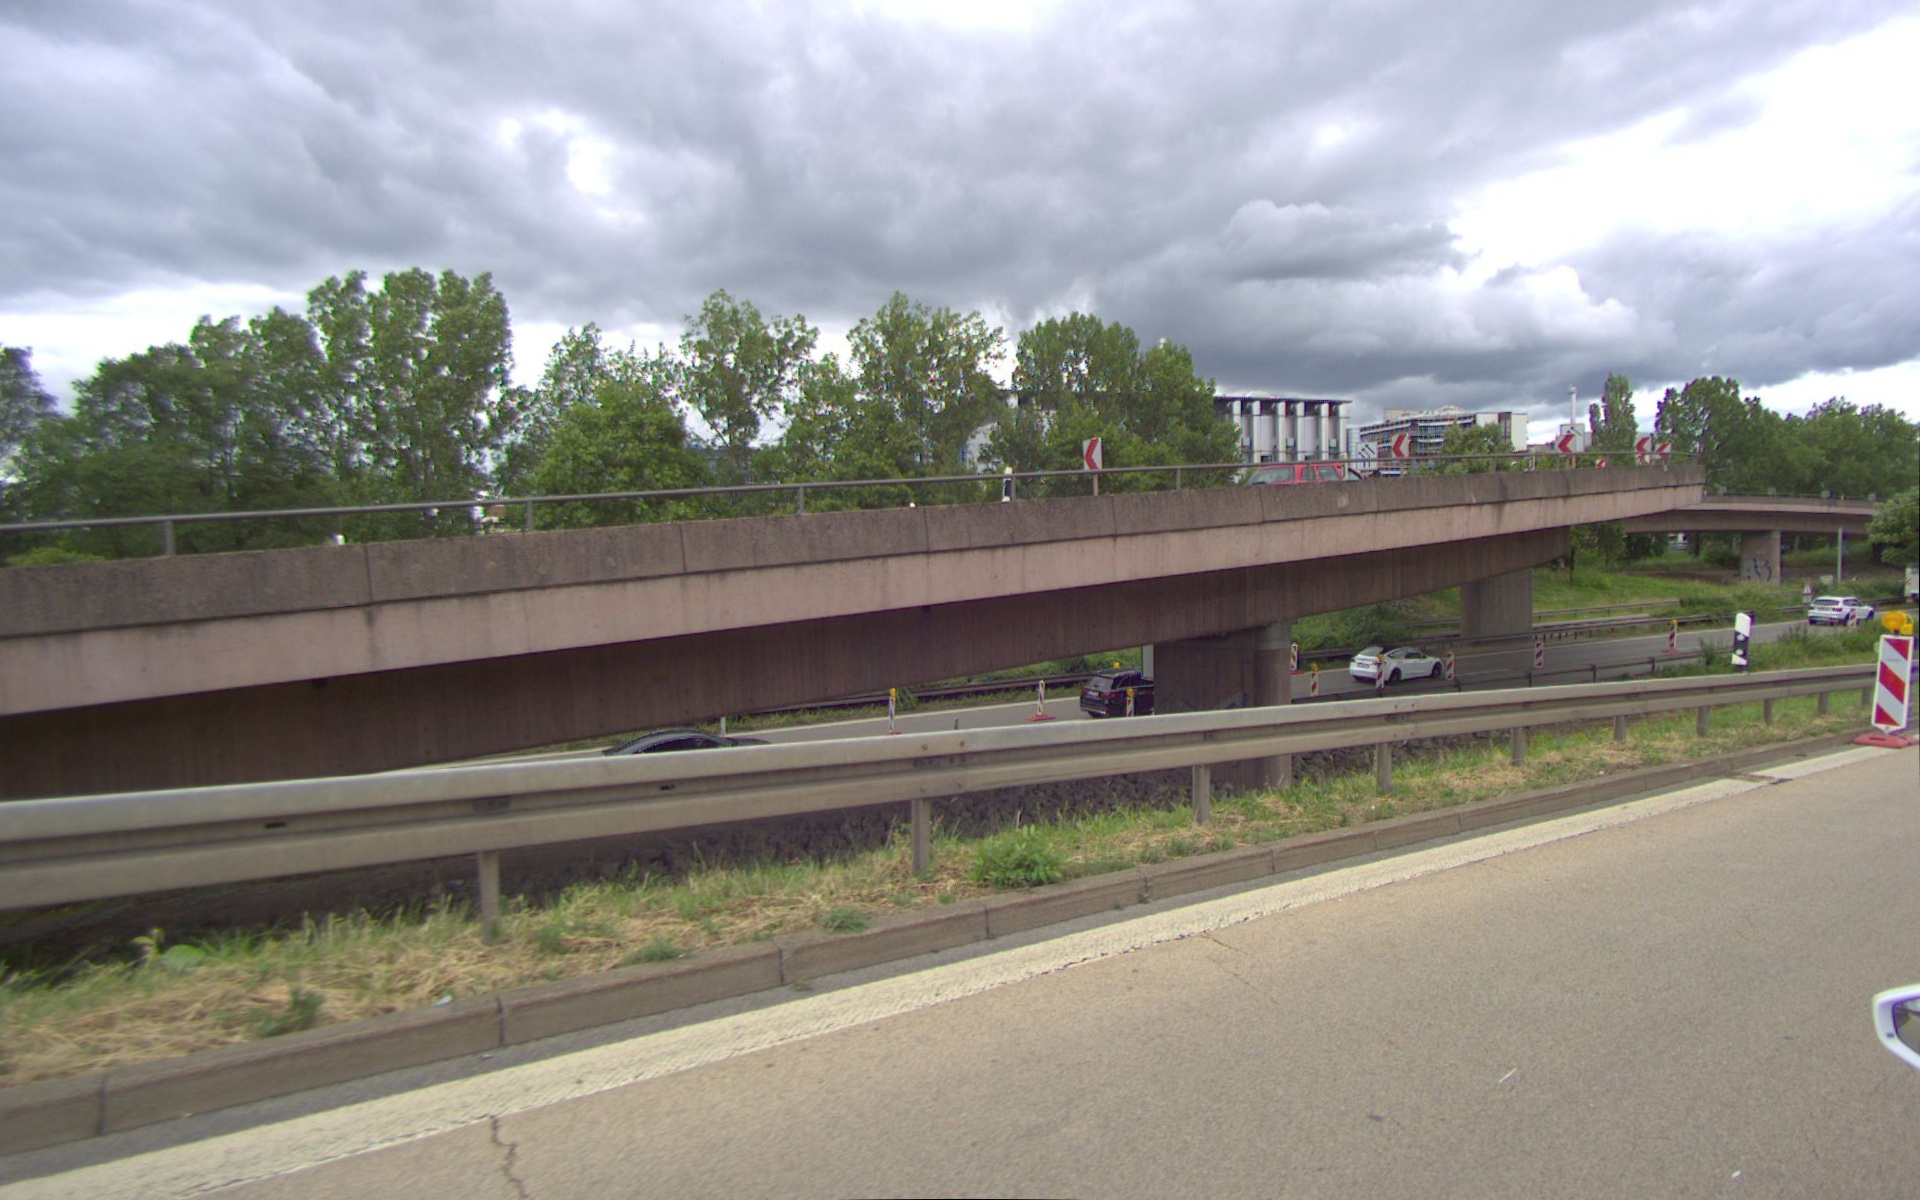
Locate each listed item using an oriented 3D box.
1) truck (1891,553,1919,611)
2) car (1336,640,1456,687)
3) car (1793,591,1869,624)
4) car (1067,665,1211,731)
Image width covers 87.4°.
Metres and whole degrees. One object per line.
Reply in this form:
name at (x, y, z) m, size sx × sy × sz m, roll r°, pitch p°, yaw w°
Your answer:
truck at (66.081, -1.274, 67.494) m, size 7.305 × 3.706 × 3.037 m, roll -2°, pitch 4°, yaw -29°
car at (18.161, 2.603, 41.805) m, size 4.736 × 1.475 × 1.987 m, roll -2°, pitch 3°, yaw -26°
car at (52.410, 0.429, 60.439) m, size 4.046 × 1.736 × 1.987 m, roll -2°, pitch 3°, yaw -26°
car at (6.127, 3.283, 34.337) m, size 4.516 × 1.637 × 2.030 m, roll -2°, pitch 3°, yaw -26°
